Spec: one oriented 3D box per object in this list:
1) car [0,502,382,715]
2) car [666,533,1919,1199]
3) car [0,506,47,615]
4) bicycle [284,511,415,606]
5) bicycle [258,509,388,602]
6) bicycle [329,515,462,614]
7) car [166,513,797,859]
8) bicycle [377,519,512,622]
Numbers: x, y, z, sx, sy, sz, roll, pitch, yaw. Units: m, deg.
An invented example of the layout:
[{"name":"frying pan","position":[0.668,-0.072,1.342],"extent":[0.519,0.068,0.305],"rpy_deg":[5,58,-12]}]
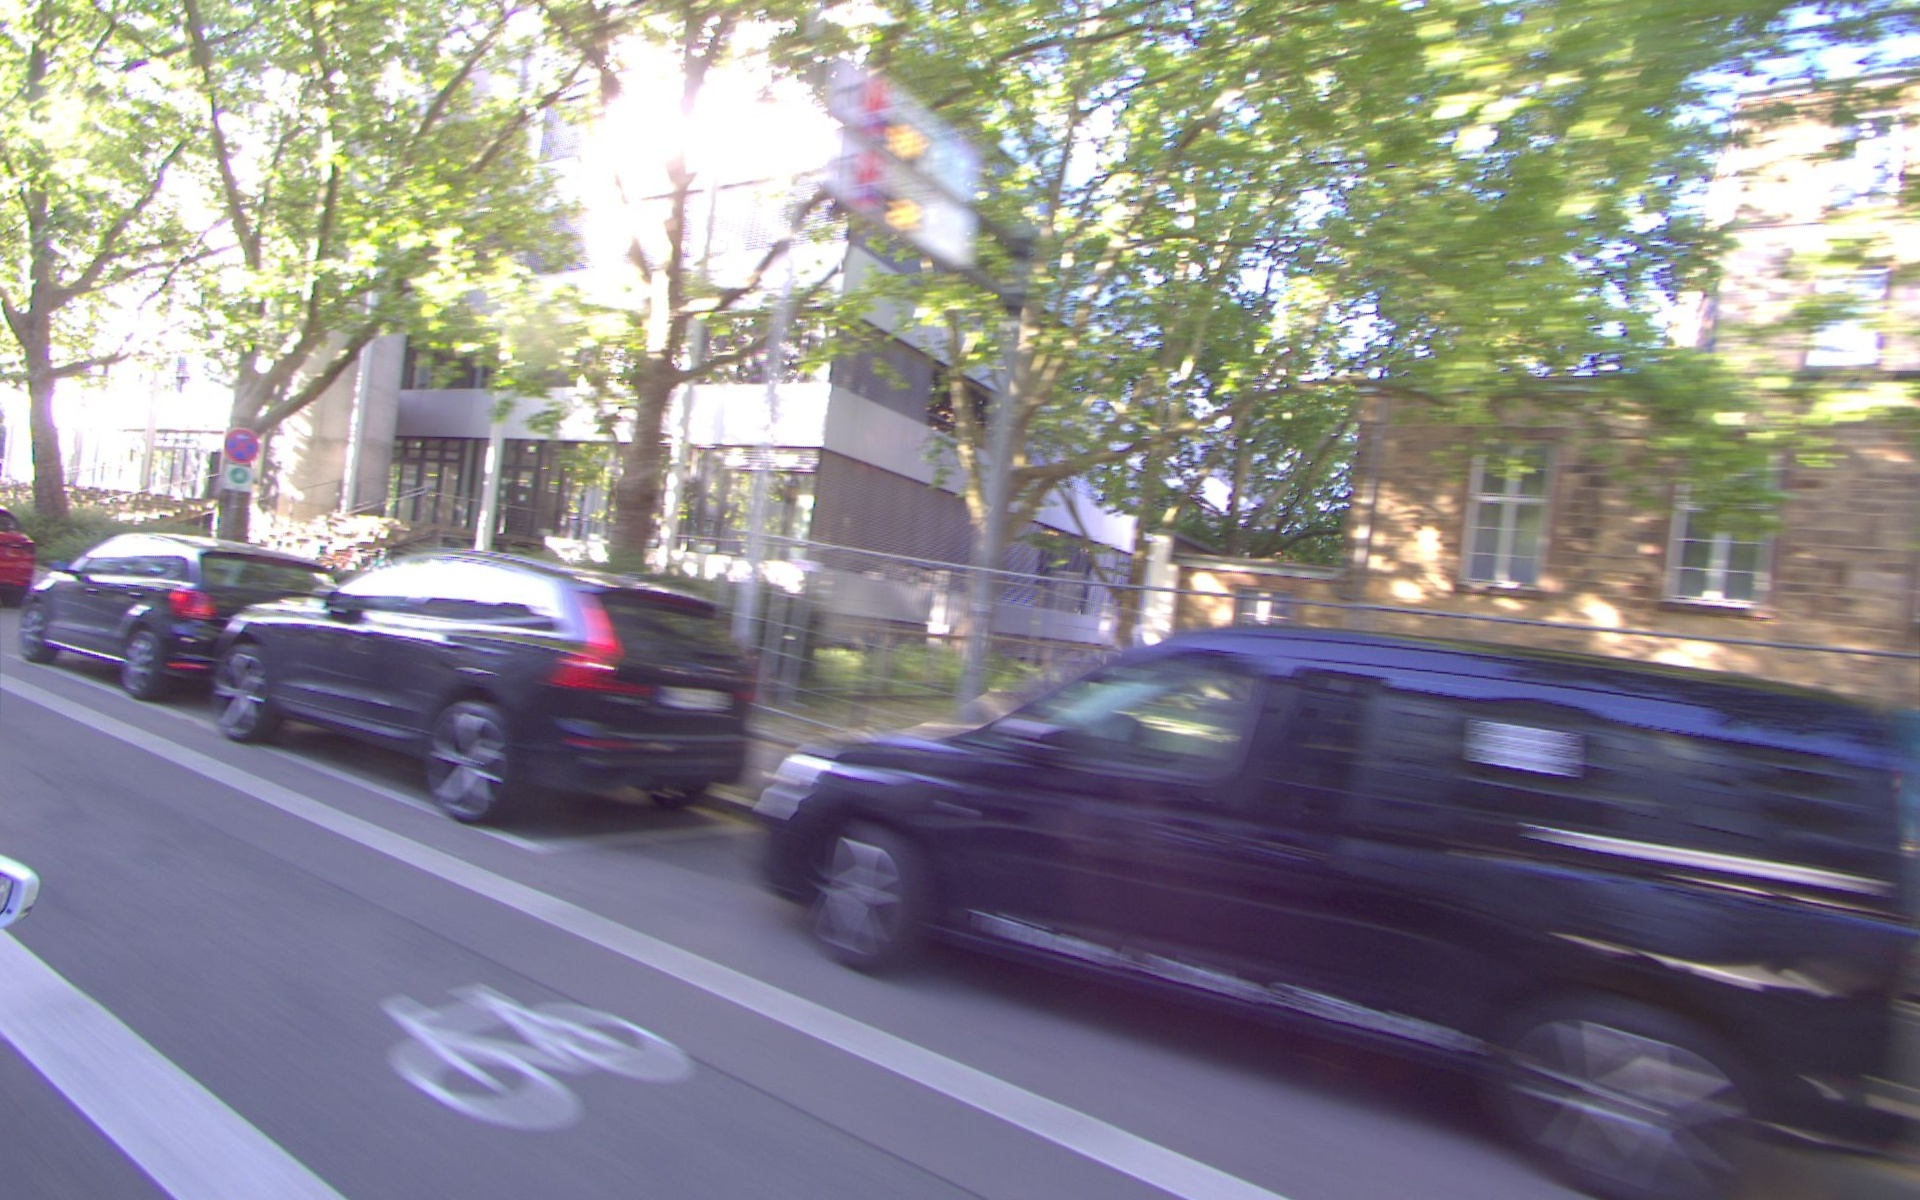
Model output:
[{"name":"car","position":[-7.809,0.054,9.942],"extent":[3.951,1.520,1.698],"rpy_deg":[7,-3,29]},{"name":"car","position":[1.276,0.976,4.678],"extent":[4.810,1.861,1.832],"rpy_deg":[7,-3,23]},{"name":"car","position":[-15.592,-0.834,14.989],"extent":[4.247,1.495,1.697],"rpy_deg":[7,-3,32]},{"name":"bicycle","position":[-15.329,-1.001,25.359],"extent":[0.730,2.038,2.602],"rpy_deg":[7,-1,31]},{"name":"bicycle","position":[-16.338,-1.112,25.898],"extent":[0.730,2.038,2.602],"rpy_deg":[7,-1,31]},{"name":"bicycle","position":[-13.581,-0.815,24.311],"extent":[0.730,2.038,2.602],"rpy_deg":[7,-1,31]},{"name":"car","position":[-3.639,0.476,7.424],"extent":[4.542,1.645,1.781],"rpy_deg":[7,-3,30]},{"name":"bicycle","position":[-11.882,-0.634,23.290],"extent":[0.730,2.038,2.602],"rpy_deg":[7,-1,31]}]
